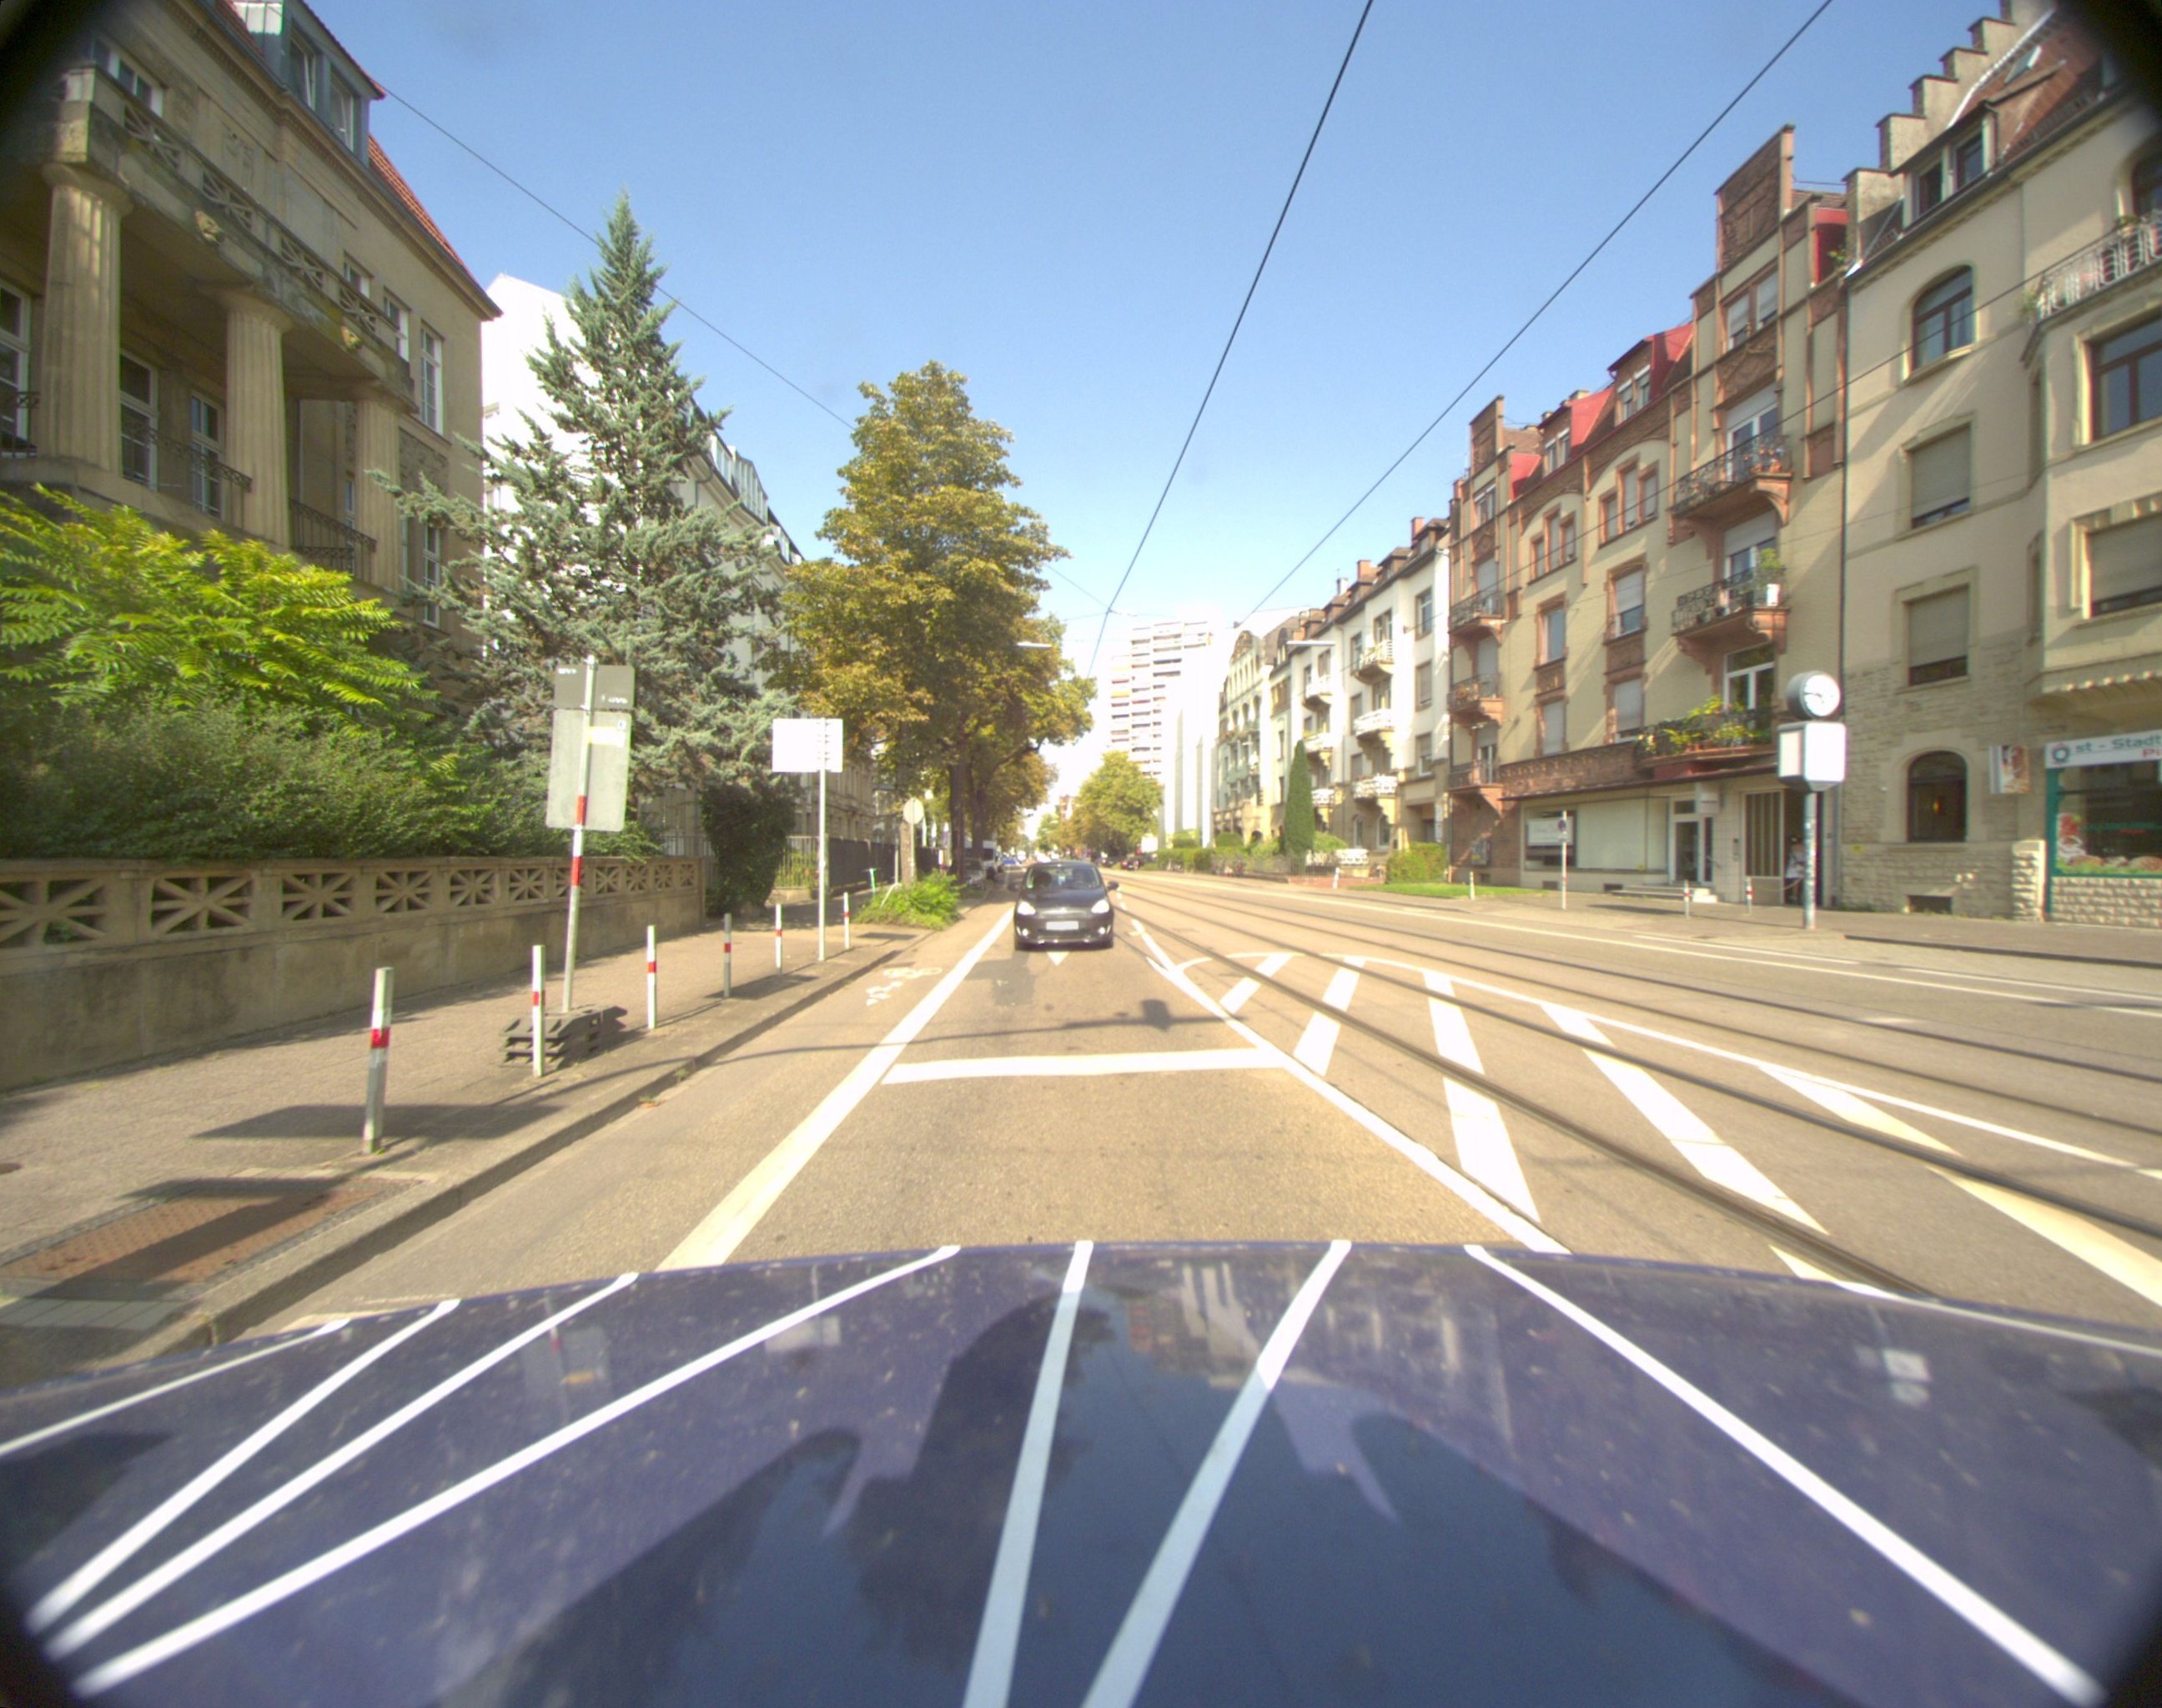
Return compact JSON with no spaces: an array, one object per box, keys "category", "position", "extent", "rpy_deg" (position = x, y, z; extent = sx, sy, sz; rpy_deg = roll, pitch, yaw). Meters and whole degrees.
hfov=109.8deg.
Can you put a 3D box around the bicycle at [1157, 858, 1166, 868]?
[{"category":"bicycle","position":[7.530,0.831,71.132],"extent":[0.426,0.972,1.769],"rpy_deg":[0,0,-6]}]

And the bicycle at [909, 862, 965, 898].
[{"category":"bicycle","position":[-4.959,0.910,26.315],"extent":[1.847,1.160,0.503],"rpy_deg":[2,4,-45]}]

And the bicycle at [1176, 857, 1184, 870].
[{"category":"bicycle","position":[8.229,0.787,62.914],"extent":[0.425,1.081,1.676],"rpy_deg":[0,0,-1]}]

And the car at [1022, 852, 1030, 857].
[{"category":"car","position":[-14.880,0.127,205.977],"extent":[2.000,1.572,4.155],"rpy_deg":[0,0,-8]}]

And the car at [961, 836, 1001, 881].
[{"category":"car","position":[-5.911,0.260,45.717],"extent":[2.052,2.484,6.225],"rpy_deg":[1,0,-5]}]

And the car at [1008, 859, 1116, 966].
[{"category":"car","position":[-0.466,0.899,13.708],"extent":[1.611,1.515,4.355],"rpy_deg":[-1,0,-5]}]

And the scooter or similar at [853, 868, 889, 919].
[{"category":"scooter or similar","position":[-5.258,0.987,19.074],"extent":[0.559,1.190,1.034],"rpy_deg":[3,1,1]}]

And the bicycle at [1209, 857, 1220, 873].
[{"category":"bicycle","position":[9.316,0.779,52.960],"extent":[0.371,1.081,1.354],"rpy_deg":[0,0,-5]}]

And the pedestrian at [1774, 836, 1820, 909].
[{"category":"pedestrian","position":[18.824,0.468,19.974],"extent":[0.832,1.849,0.774],"rpy_deg":[-1,1,-40]}]

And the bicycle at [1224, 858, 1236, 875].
[{"category":"bicycle","position":[9.482,0.786,48.431],"extent":[0.371,1.081,1.354],"rpy_deg":[0,0,-5]}]

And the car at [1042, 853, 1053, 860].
[{"category":"car","position":[-7.228,0.571,164.401],"extent":[1.878,1.446,4.541],"rpy_deg":[2,0,-8]}]

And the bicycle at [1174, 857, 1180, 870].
[{"category":"bicycle","position":[8.200,0.767,65.015],"extent":[0.425,1.081,1.677],"rpy_deg":[0,0,4]}]

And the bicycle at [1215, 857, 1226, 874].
[{"category":"bicycle","position":[9.416,0.774,51.193],"extent":[0.371,1.081,1.354],"rpy_deg":[0,0,-5]}]

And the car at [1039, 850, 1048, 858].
[{"category":"car","position":[-9.771,-0.100,196.451],"extent":[2.000,2.002,4.855],"rpy_deg":[0,0,-8]}]

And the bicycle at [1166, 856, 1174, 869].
[{"category":"bicycle","position":[7.932,0.745,67.821],"extent":[0.425,1.081,1.676],"rpy_deg":[0,0,-3]}]

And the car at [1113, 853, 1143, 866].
[{"category":"car","position":[5.837,0.650,93.931],"extent":[1.767,1.518,4.008],"rpy_deg":[0,0,36]}]

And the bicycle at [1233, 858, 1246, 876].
[{"category":"bicycle","position":[9.720,0.798,46.671],"extent":[0.371,1.081,1.487],"rpy_deg":[0,0,-5]}]

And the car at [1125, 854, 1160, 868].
[{"category":"car","position":[6.496,0.715,79.846],"extent":[1.767,1.518,4.008],"rpy_deg":[0,0,36]}]

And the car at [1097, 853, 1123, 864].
[{"category":"car","position":[4.033,0.560,105.518],"extent":[1.767,1.518,4.008],"rpy_deg":[0,0,36]}]

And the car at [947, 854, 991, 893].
[{"category":"car","position":[-4.946,0.818,34.029],"extent":[1.611,1.515,4.355],"rpy_deg":[3,0,-5]}]

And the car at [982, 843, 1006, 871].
[{"category":"car","position":[-8.264,0.260,72.581],"extent":[1.999,2.526,5.865],"rpy_deg":[2,0,-4]}]

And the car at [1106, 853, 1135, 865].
[{"category":"car","position":[5.026,0.617,96.724],"extent":[1.767,1.518,4.008],"rpy_deg":[0,0,36]}]

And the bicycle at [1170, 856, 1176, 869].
[{"category":"bicycle","position":[7.981,0.754,65.809],"extent":[0.425,1.081,1.677],"rpy_deg":[0,0,4]}]

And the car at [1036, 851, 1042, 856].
[{"category":"car","position":[-13.957,-0.199,251.708],"extent":[1.702,1.395,4.643],"rpy_deg":[-1,1,-6]}]

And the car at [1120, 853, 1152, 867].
[{"category":"car","position":[6.280,0.663,86.480],"extent":[1.767,1.518,4.008],"rpy_deg":[0,0,36]}]

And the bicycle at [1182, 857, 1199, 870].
[{"category":"bicycle","position":[8.932,0.759,61.966],"extent":[1.398,1.081,0.425],"rpy_deg":[0,1,-22]}]
